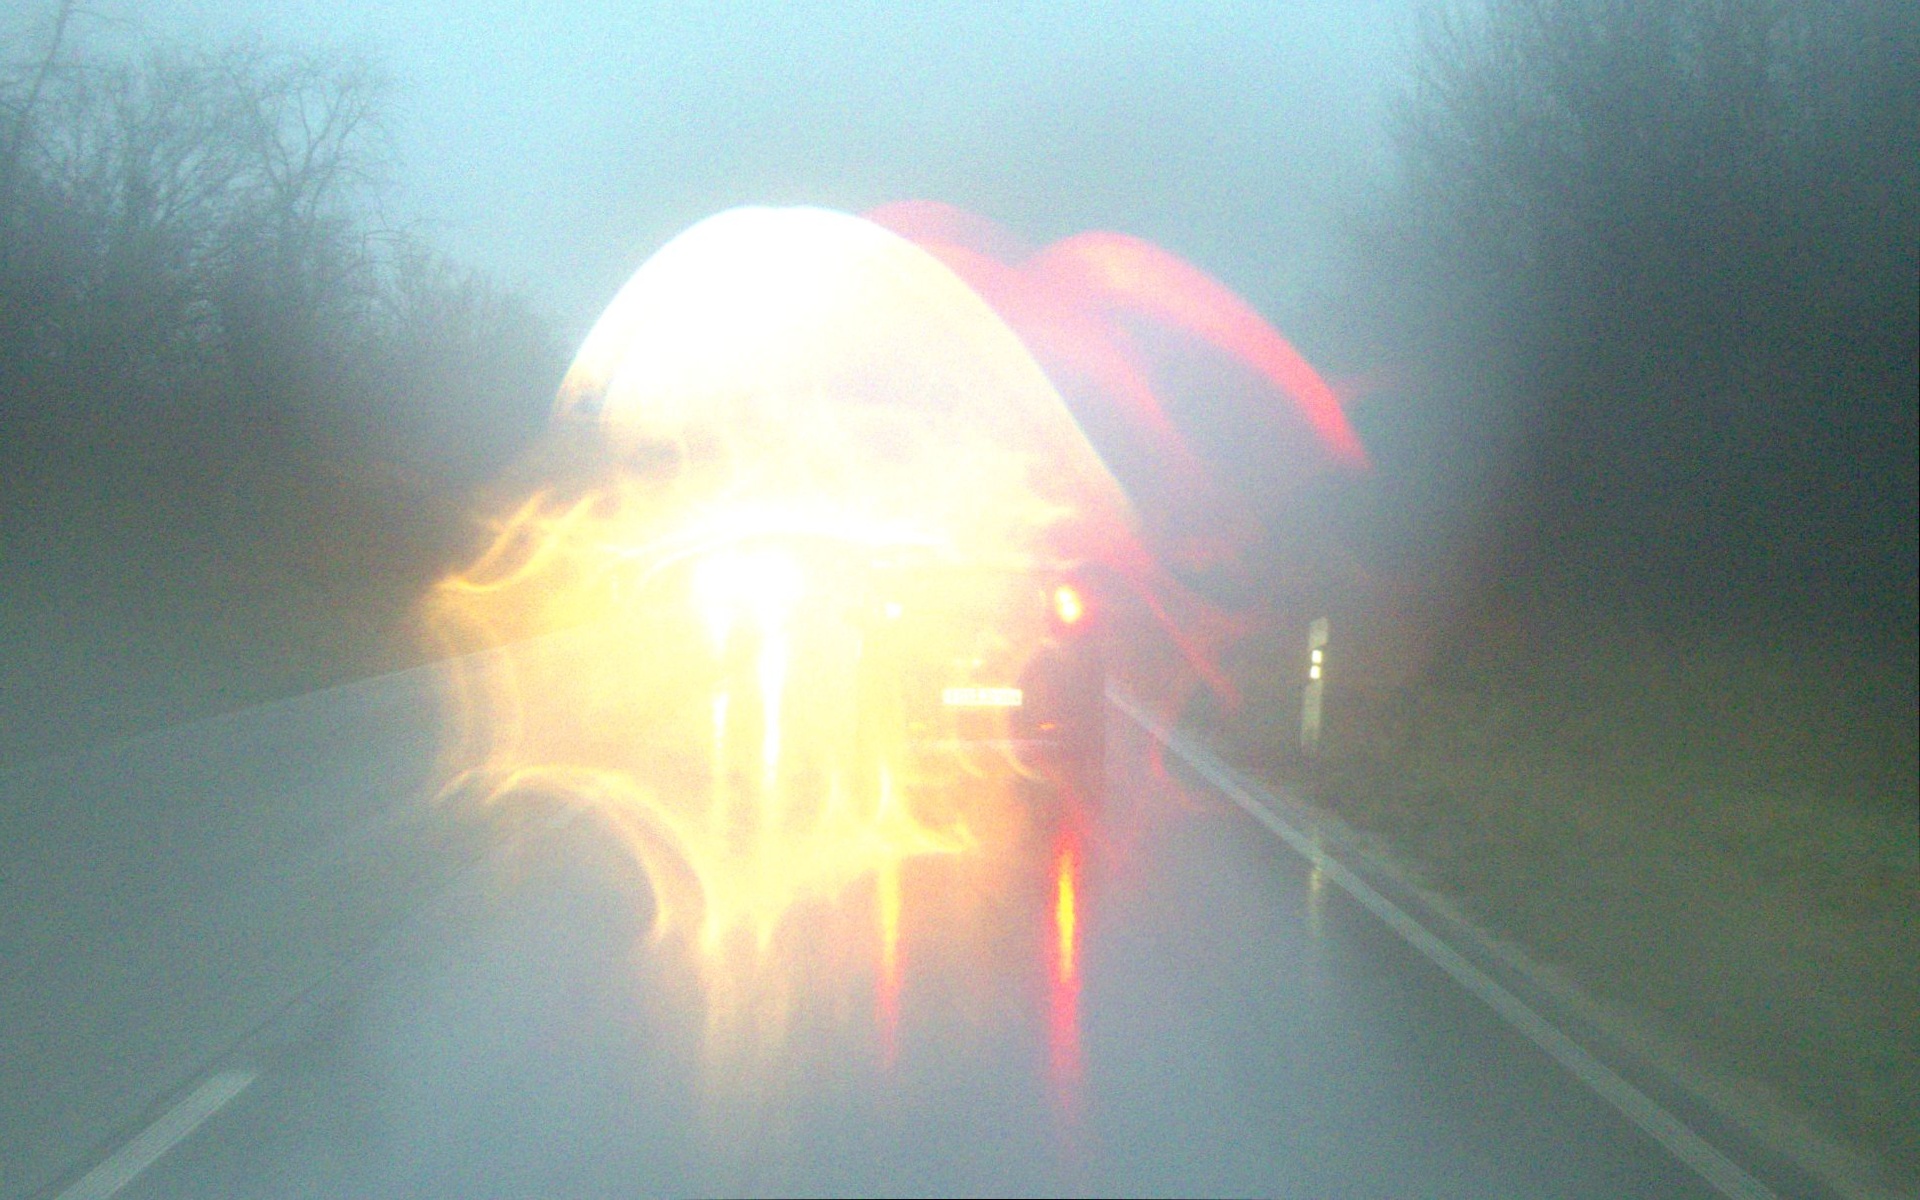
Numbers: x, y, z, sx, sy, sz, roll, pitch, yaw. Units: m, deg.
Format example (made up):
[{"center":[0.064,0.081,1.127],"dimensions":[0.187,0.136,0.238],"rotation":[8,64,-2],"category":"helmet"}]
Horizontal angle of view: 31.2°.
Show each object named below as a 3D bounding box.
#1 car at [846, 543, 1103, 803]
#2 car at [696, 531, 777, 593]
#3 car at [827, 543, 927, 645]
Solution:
[{"center":[0.073,0.455,24.132],"dimensions":[1.648,1.666,3.514],"rotation":[1,1,-1],"category":"car"},{"center":[-5.521,-0.971,85.470],"dimensions":[1.698,1.490,5.664],"rotation":[1,1,-1],"category":"car"},{"center":[-1.499,-0.138,62.544],"dimensions":[1.733,1.773,4.000],"rotation":[1,1,-1],"category":"car"}]
